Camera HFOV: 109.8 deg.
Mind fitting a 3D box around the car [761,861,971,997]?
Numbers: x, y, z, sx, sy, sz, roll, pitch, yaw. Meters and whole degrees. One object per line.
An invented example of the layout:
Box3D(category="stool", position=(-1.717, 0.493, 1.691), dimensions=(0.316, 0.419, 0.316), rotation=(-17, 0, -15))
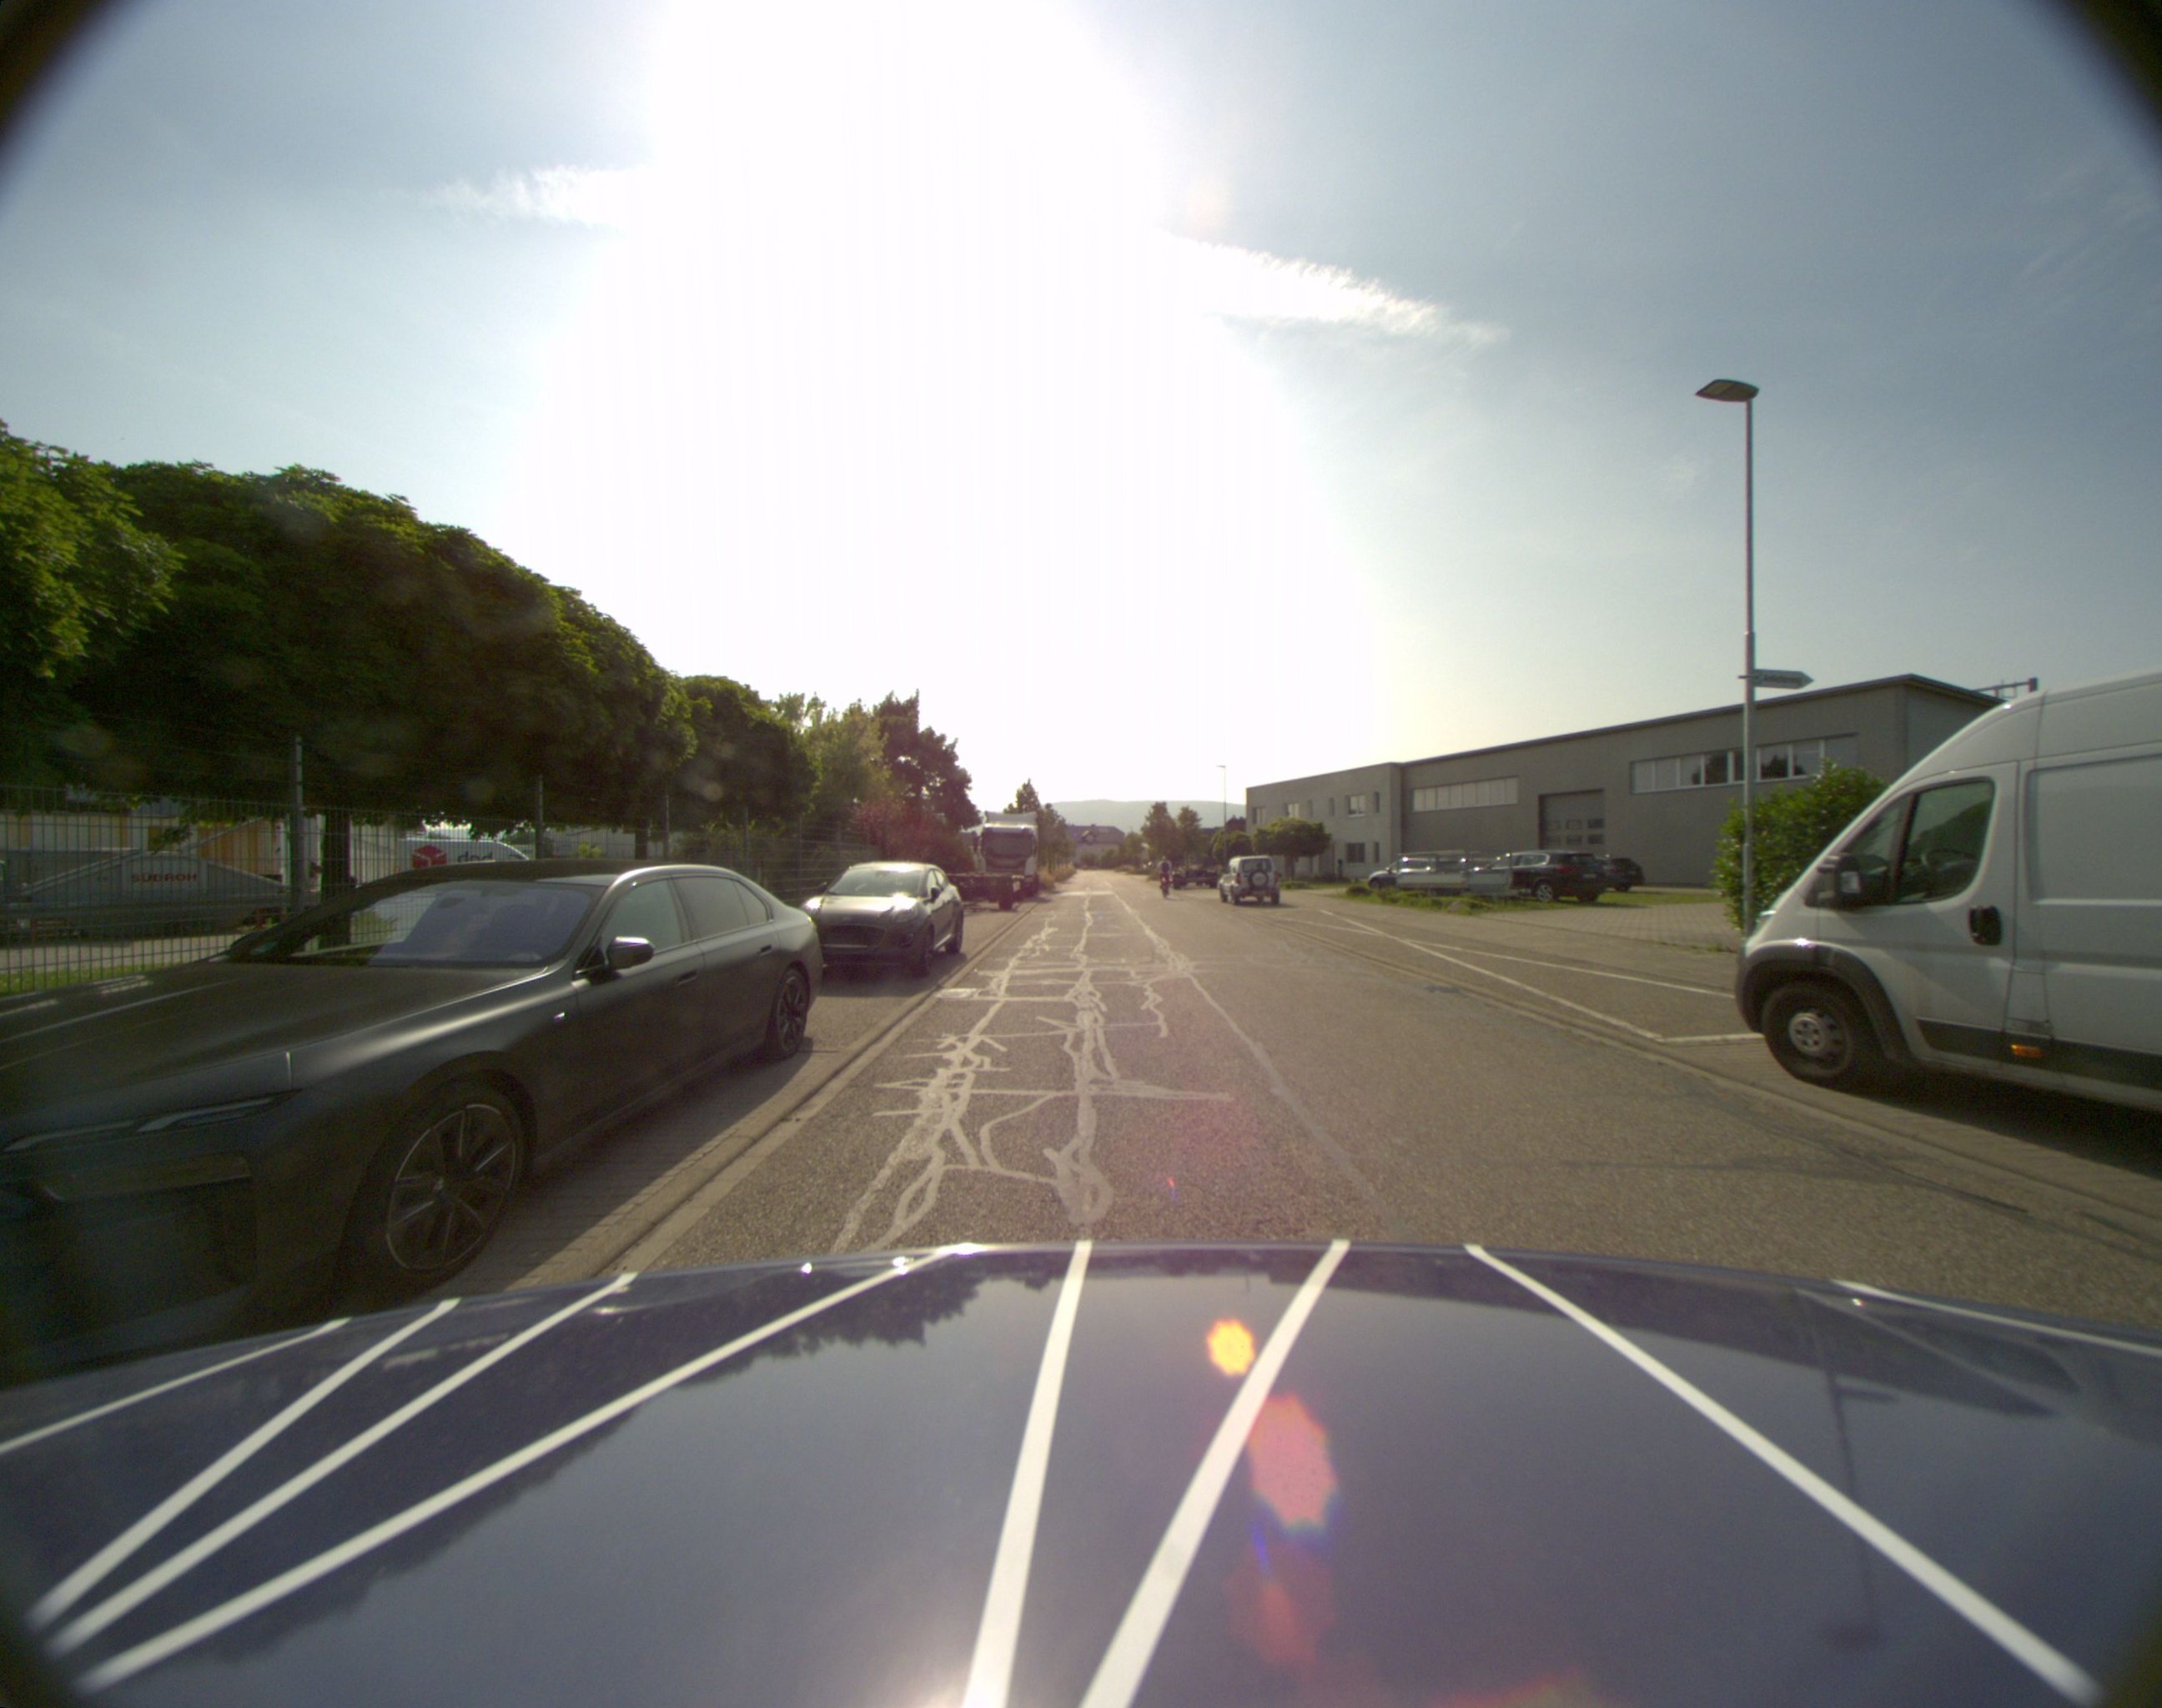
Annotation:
Box3D(category="car", position=(-2.949, 0.939, 11.406), dimensions=(1.885, 1.565, 4.113), rotation=(2, 0, 1))

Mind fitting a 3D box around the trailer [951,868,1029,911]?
Box3D(category="trailer", position=(-3.125, 1.181, 27.643), dimensions=(1.943, 1.228, 7.451), rotation=(1, -1, 0))

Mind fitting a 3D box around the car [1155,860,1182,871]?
Box3D(category="car", position=(13.451, 1.768, 116.699), dimensions=(3.996, 1.717, 2.000), rotation=(0, 0, 1))

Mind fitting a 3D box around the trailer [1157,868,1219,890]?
Box3D(category="trailer", position=(6.363, 1.448, 46.677), dimensions=(2.552, 1.068, 9.733), rotation=(-2, -1, 1))

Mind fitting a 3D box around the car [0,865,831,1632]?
Box3D(category="car", position=(-3.237, 0.906, 4.233), dimensions=(1.885, 1.565, 5.118), rotation=(1, 0, 1))

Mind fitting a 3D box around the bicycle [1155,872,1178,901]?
Box3D(category="bicycle", position=(3.652, 1.379, 32.701), dimensions=(0.717, 1.115, 2.219), rotation=(2, 0, 1))

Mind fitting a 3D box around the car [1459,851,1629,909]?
Box3D(category="car", position=(14.586, 0.767, 24.261), dimensions=(1.997, 1.648, 4.415), rotation=(-1, 0, -17))

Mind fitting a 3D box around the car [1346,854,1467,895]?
Box3D(category="car", position=(12.699, 0.785, 29.975), dimensions=(1.983, 1.467, 4.415), rotation=(-1, 0, -17))

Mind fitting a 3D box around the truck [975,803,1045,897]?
Box3D(category="truck", position=(-3.201, -0.130, 35.661), dimensions=(2.699, 3.941, 6.047), rotation=(2, 0, -1))

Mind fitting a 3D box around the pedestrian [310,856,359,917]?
Box3D(category="pedestrian", position=(-21.250, 0.905, 21.633), dimensions=(0.860, 1.712, 0.630), rotation=(0, 0, -31))

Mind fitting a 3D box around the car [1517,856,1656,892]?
Box3D(category="car", position=(20.264, 0.763, 30.704), dimensions=(1.997, 1.317, 4.344), rotation=(-1, 0, -19))

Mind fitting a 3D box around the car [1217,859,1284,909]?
Box3D(category="car", position=(6.037, 1.020, 27.370), dimensions=(1.601, 1.641, 3.645), rotation=(-1, -1, 1))

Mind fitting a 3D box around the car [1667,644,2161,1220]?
Box3D(category="car", position=(5.896, 0.307, 2.843), dimensions=(2.108, 2.579, 6.503), rotation=(-3, 0, -2))

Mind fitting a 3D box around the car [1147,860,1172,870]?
Box3D(category="car", position=(14.440, 2.015, 139.749), dimensions=(4.004, 1.783, 1.997), rotation=(0, 0, -21))

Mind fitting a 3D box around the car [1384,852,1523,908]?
Box3D(category="car", position=(11.720, 0.788, 24.183), dimensions=(1.840, 1.562, 3.811), rotation=(-2, 0, -16))

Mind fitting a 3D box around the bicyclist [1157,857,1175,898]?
Box3D(category="bicyclist", position=(3.651, 1.007, 32.756), dimensions=(0.641, 1.709, 1.165), rotation=(0, 0, 1))

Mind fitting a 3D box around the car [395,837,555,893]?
Box3D(category="car", position=(-30.946, 0.535, 39.021), dimensions=(6.286, 2.633, 2.206), rotation=(0, 0, -41))
